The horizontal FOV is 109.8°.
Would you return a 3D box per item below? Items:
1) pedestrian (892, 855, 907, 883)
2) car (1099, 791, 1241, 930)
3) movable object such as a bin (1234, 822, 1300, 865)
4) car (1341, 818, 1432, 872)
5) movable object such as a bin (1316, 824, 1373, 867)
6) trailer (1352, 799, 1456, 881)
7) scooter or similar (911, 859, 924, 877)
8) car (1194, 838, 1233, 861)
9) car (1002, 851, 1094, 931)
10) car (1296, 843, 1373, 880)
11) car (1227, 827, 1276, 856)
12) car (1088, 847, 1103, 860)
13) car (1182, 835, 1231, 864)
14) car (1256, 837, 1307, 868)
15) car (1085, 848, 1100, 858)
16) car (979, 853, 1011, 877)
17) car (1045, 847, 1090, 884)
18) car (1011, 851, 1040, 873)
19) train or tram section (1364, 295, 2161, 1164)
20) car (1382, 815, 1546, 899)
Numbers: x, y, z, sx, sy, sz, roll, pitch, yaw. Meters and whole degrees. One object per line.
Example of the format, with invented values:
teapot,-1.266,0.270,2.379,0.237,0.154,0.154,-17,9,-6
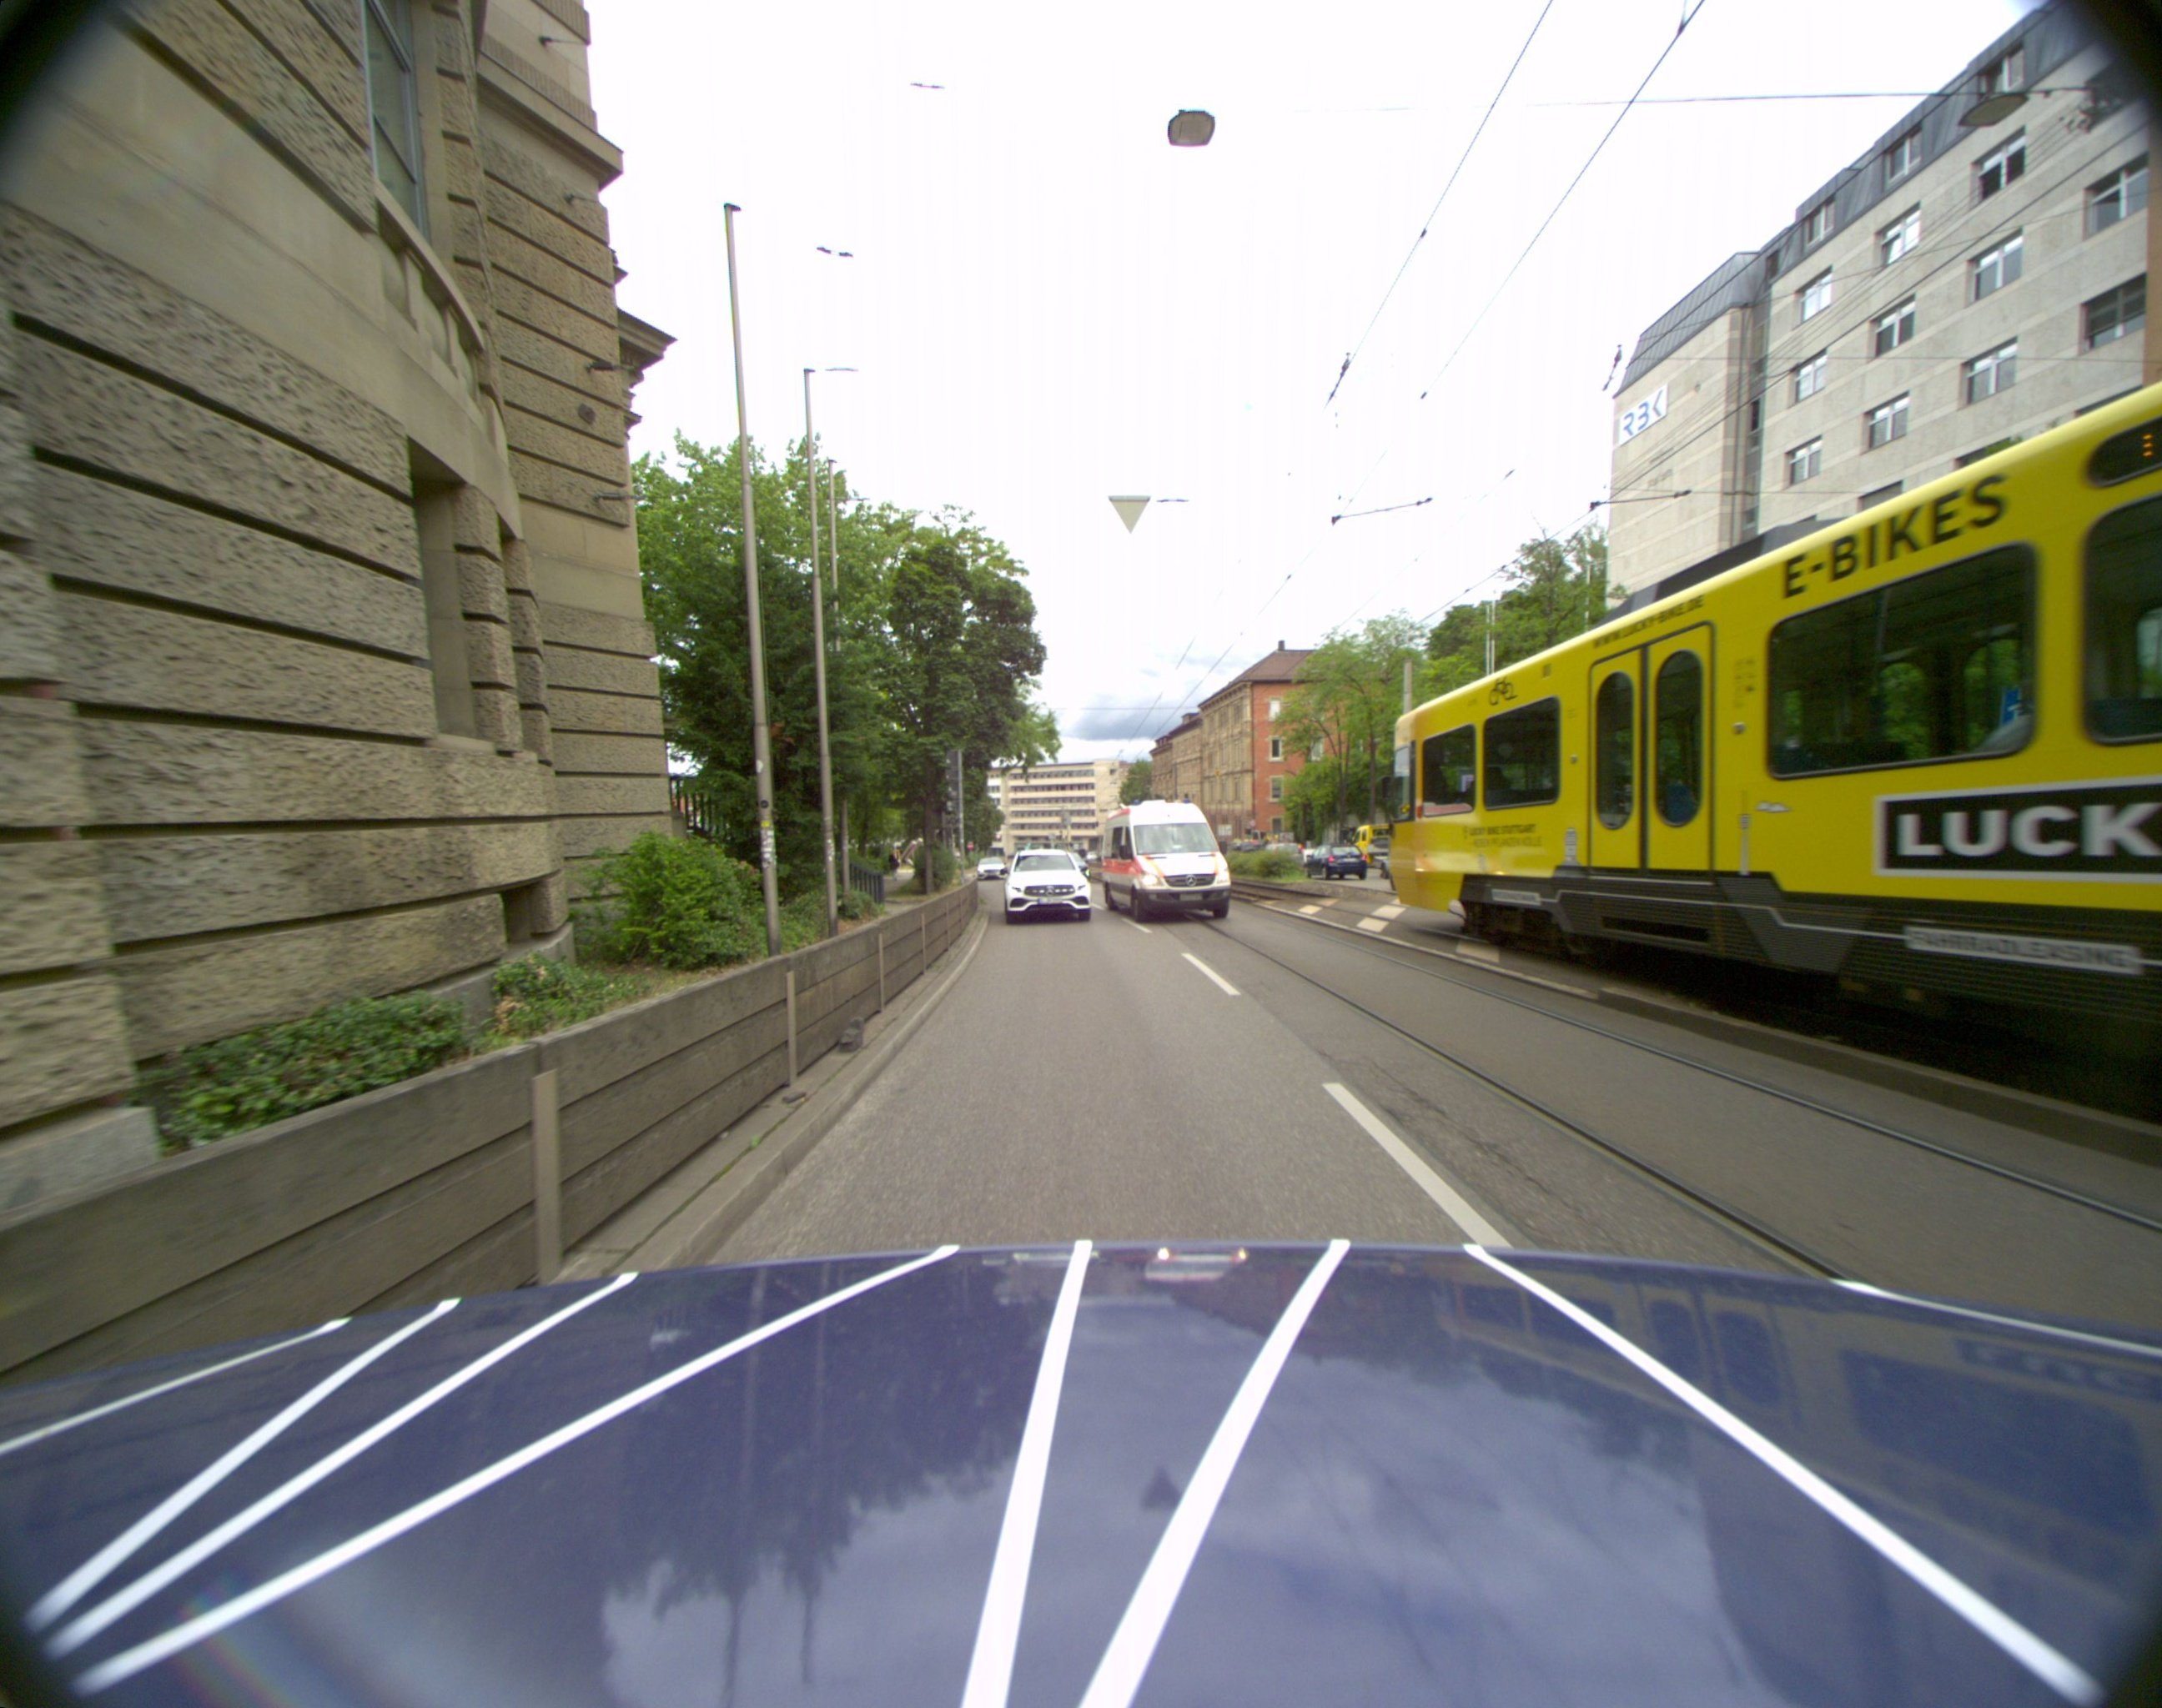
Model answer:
pedestrian,-11.075,0.922,46.320,0.774,1.693,0.784,-1,1,-10
car,1.842,0.133,17.983,2.040,2.684,5.851,-2,0,-6
movable object such as a bin,16.256,-0.869,66.886,2.757,3.527,6.540,-1,0,-15
car,15.845,-0.442,39.890,2.162,2.578,6.335,-1,0,0
movable object such as a bin,16.433,-0.489,47.606,1.938,2.453,4.097,-3,0,-1
trailer,13.006,-0.545,31.053,2.024,2.956,5.590,-3,1,3
scooter or similar,-10.891,0.930,50.514,0.632,1.203,1.555,-2,1,-19
car,9.468,-0.312,54.685,1.998,1.595,4.619,-1,0,0
car,-0.874,0.774,18.276,1.895,1.610,4.476,-2,0,-5
car,10.477,0.281,31.687,1.771,1.399,4.082,-1,0,-1
car,10.254,-0.716,46.102,1.998,1.595,4.610,-1,0,1
car,2.244,-0.100,120.767,2.148,2.002,4.746,-1,0,-1
car,11.449,-0.385,70.102,2.448,2.422,6.748,-2,1,-8
car,10.023,-0.089,38.185,1.663,1.435,3.740,-1,0,2
car,1.883,-0.115,125.739,1.999,1.575,3.998,-1,0,-4
car,-5.526,0.681,49.114,1.822,1.441,3.852,-1,0,-3
car,-0.632,0.531,36.361,1.931,1.563,4.180,-3,0,-1
car,-4.272,0.562,57.928,1.999,1.543,4.314,-2,0,-6
train or tram section,6.079,-0.586,4.938,2.889,3.704,14.854,-3,0,0
car,10.123,0.069,20.594,1.952,1.935,5.002,-2,0,1
